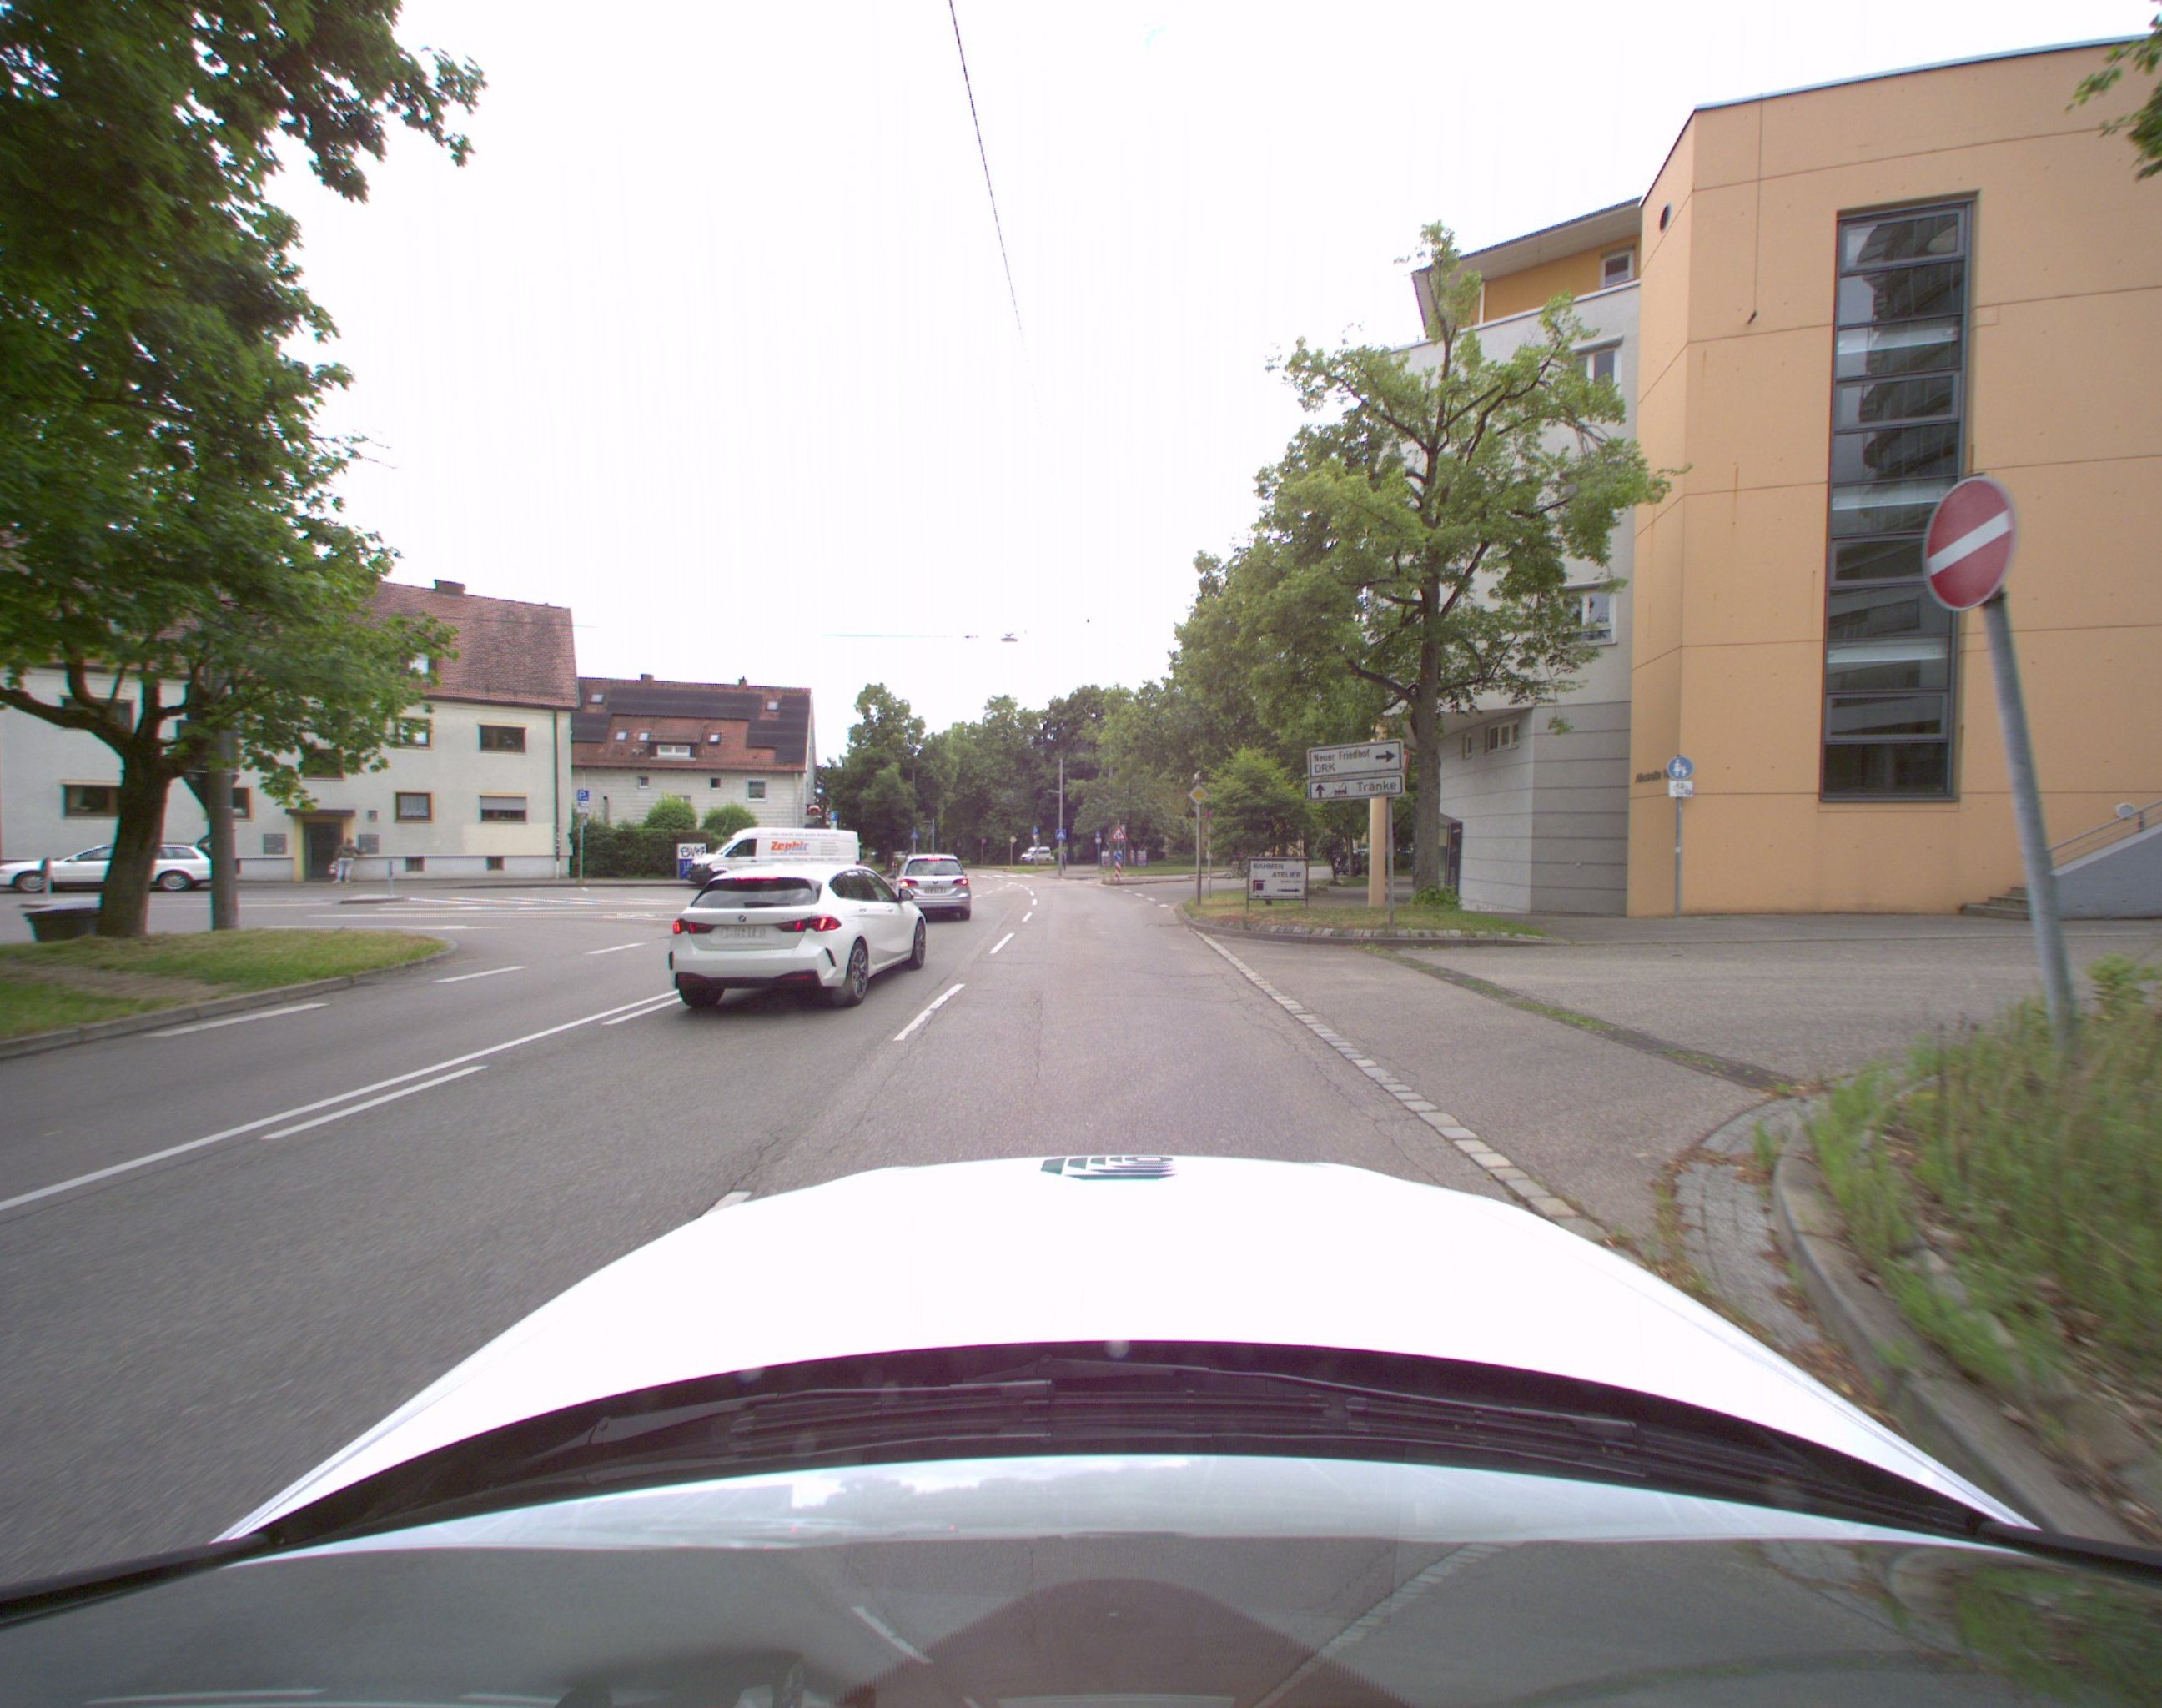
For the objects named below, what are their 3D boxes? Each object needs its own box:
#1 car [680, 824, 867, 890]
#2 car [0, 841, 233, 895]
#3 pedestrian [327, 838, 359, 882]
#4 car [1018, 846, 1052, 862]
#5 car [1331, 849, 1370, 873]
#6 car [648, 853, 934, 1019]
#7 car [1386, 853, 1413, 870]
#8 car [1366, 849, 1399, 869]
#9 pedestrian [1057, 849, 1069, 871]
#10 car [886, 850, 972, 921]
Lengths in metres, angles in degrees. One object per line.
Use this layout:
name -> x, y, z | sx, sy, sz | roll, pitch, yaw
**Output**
car -> -12.799, 0.119, 34.245 | 7.012, 2.521, 2.062 | 1, 2, -37
car -> -28.472, 0.382, 24.186 | 4.338, 1.439, 1.702 | 0, 2, -39
pedestrian -> -26.295, 0.213, 29.035 | 0.753, 1.534, 0.708 | 2, 1, -38
car -> -7.031, 0.027, 125.578 | 2.110, 2.297, 5.419 | 3, 1, 39
car -> 19.223, 0.476, 57.983 | 1.857, 1.568, 4.043 | 3, 1, 29
car -> -3.108, 0.776, 9.760 | 1.789, 1.517, 4.208 | -1, 0, 1
car -> 29.029, 0.687, 74.144 | 1.627, 1.375, 3.465 | 3, 1, 32
car -> 25.182, 0.402, 67.951 | 1.761, 1.598, 4.275 | 2, 1, 30
pedestrian -> -1.590, 0.537, 72.633 | 0.921, 1.871, 1.018 | -4, 3, -3
car -> -3.733, 0.706, 20.406 | 1.922, 1.574, 3.988 | 0, 1, -9
